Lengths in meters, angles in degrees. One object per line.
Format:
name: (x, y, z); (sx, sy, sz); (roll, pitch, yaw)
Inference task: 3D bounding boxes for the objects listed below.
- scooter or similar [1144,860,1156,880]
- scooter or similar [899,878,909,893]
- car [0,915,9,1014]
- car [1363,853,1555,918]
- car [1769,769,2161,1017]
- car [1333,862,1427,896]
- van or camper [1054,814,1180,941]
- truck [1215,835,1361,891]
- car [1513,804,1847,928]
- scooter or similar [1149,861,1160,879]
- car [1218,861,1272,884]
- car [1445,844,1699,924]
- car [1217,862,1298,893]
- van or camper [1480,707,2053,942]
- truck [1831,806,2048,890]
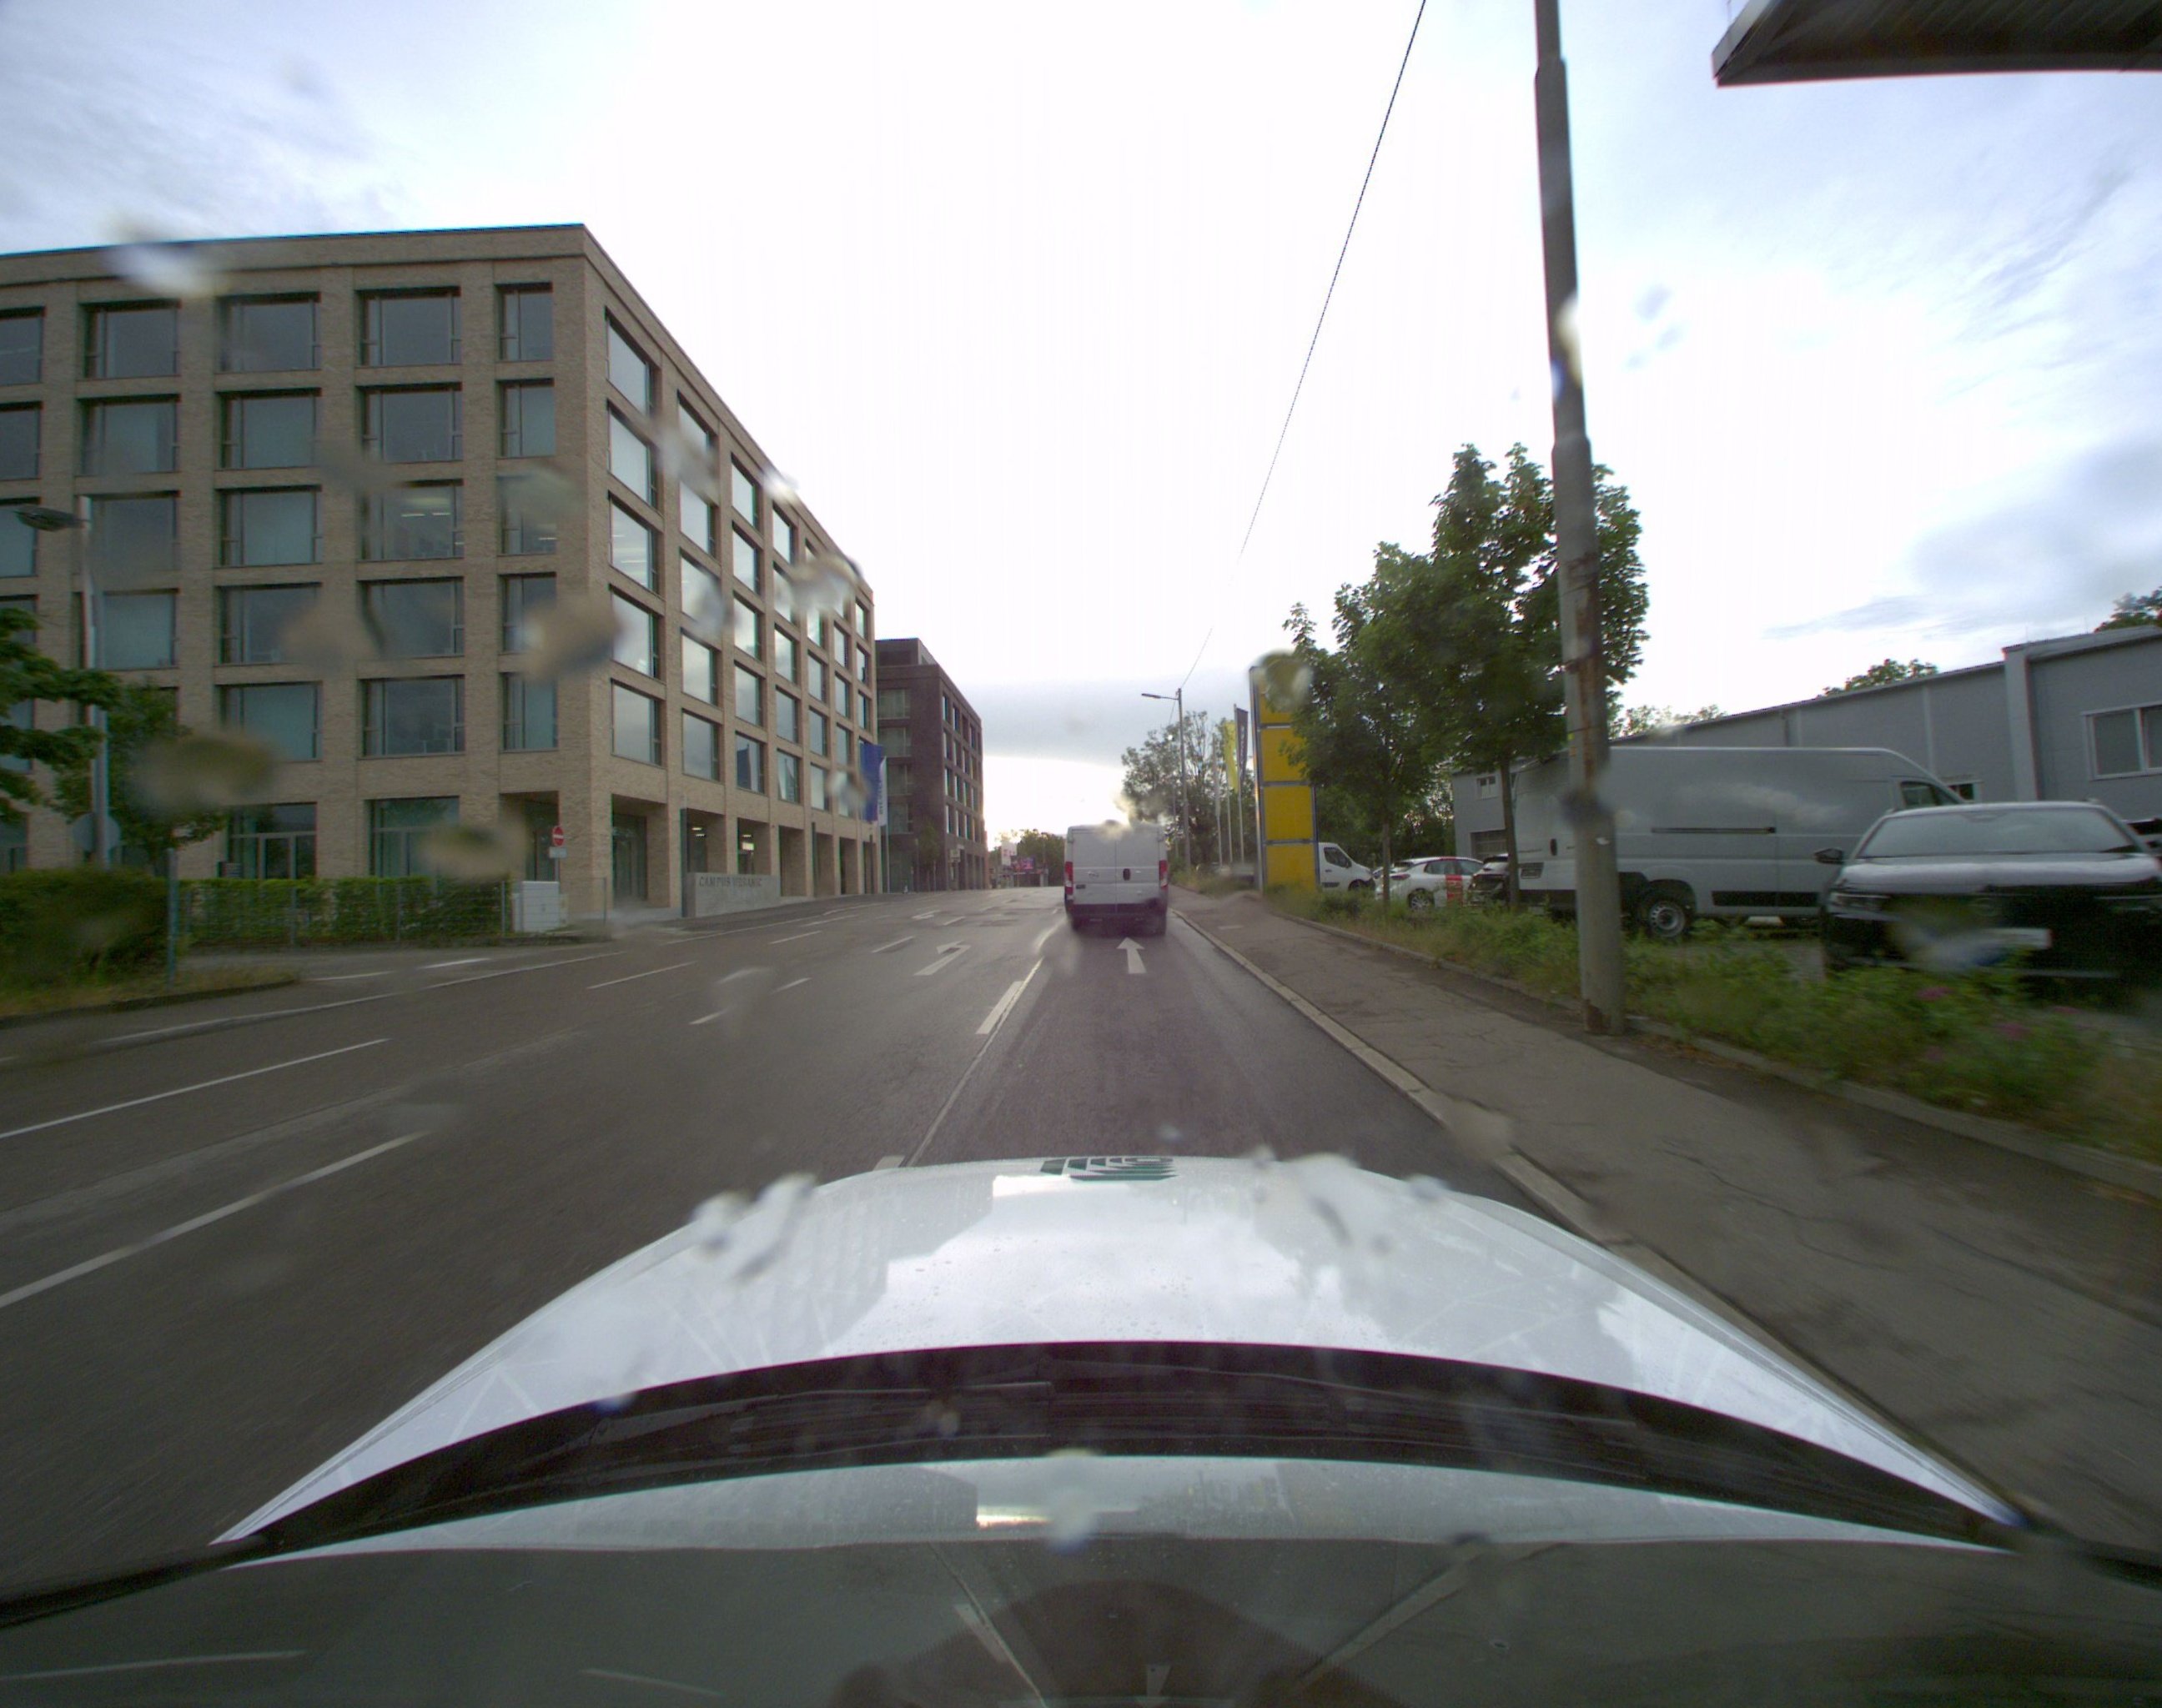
scooter or similar: (5.770, 1.339, 68.353); (0.436, 1.588, 1.264); (-1, -1, -20)
scooter or similar: (-13.223, 2.350, 60.960); (0.349, 1.072, 1.429); (-1, -2, 3)
car: (-17.794, 1.675, 11.434); (3.474, 1.464, 1.544); (-1, 0, 1)
car: (9.407, 0.760, 20.528); (3.971, 1.428, 1.896); (-2, 0, 2)
car: (7.539, 0.207, 6.887); (4.542, 1.454, 1.893); (-2, -2, -41)
car: (13.491, 1.114, 36.922); (3.674, 1.418, 1.632); (-1, -1, 4)
van or camper: (0.806, 0.460, 18.099); (2.330, 2.357, 5.203); (-1, 0, 3)
truck: (8.029, 0.335, 31.949); (5.132, 2.013, 2.344); (-1, 0, -1)
car: (9.813, 0.235, 13.642); (4.109, 1.847, 1.844); (-1, -3, 3)
scooter or similar: (6.193, 1.342, 68.520); (0.436, 1.564, 1.264); (-1, -1, -20)
car: (13.629, 1.510, 67.933); (3.979, 1.521, 1.801); (-6, -1, -4)
car: (9.660, 0.609, 16.271); (3.972, 1.431, 1.748); (-1, -3, 2)
car: (9.671, 1.281, 44.776); (4.113, 1.589, 1.761); (-1, 0, 2)
van or camper: (8.878, -0.349, 11.062); (5.716, 2.724, 2.352); (-1, 0, 1)
truck: (27.827, -0.197, 26.419); (6.275, 2.236, 2.351); (-3, -4, -20)
